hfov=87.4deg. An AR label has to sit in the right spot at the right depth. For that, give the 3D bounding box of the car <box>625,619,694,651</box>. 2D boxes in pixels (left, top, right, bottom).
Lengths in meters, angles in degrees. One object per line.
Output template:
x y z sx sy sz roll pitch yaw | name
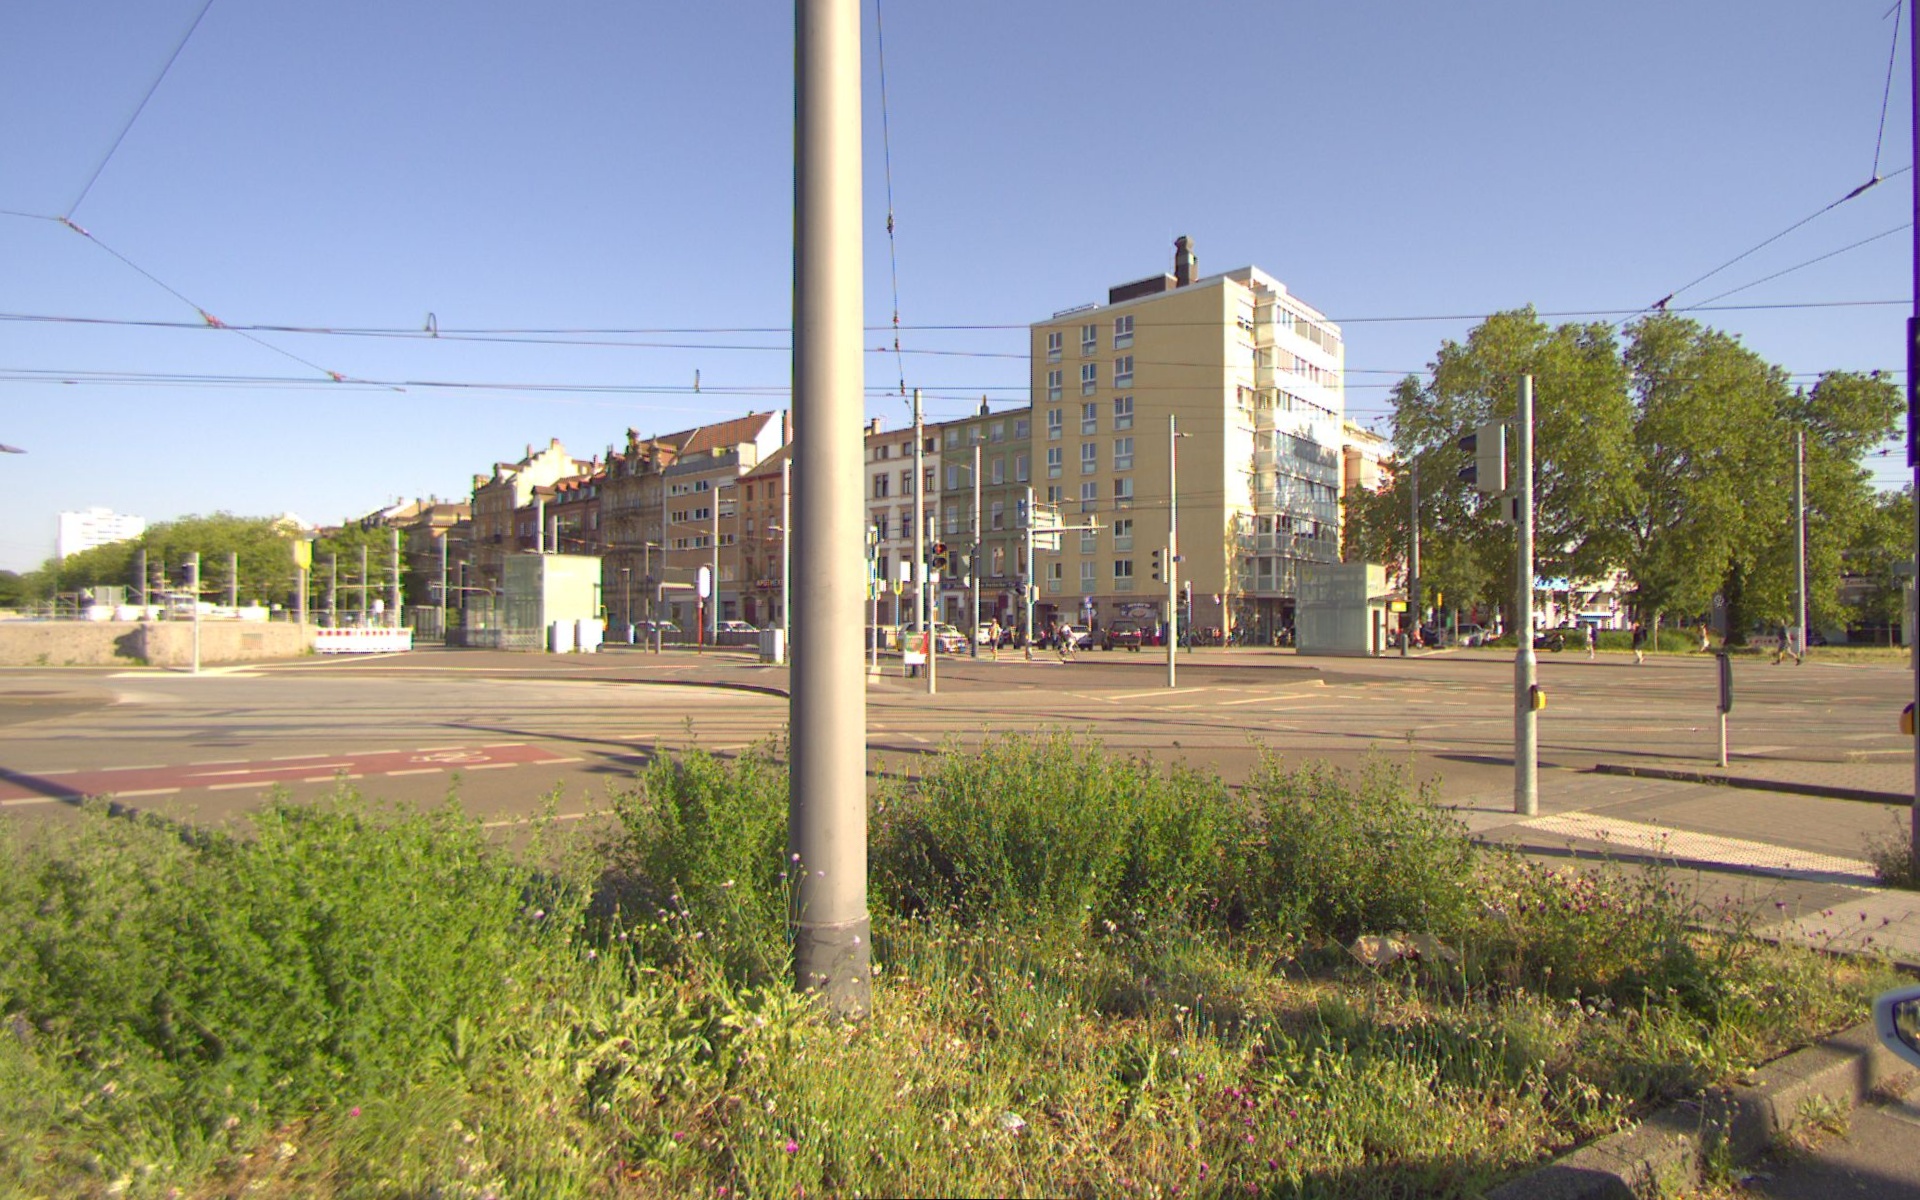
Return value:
-19.626 2.255 65.534 4.837 1.849 1.990 2 0 41 | car

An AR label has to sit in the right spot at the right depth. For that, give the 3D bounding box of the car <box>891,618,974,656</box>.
-1.374 1.769 49.132 3.942 1.684 1.777 2 0 42 | car

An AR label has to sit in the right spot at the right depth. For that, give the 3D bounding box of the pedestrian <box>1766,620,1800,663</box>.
34.050 1.726 41.570 0.747 1.728 0.793 2 0 -22 | pedestrian

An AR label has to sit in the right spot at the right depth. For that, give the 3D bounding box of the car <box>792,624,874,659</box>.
-6.866 2.208 54.169 4.652 1.684 1.777 1 0 42 | car

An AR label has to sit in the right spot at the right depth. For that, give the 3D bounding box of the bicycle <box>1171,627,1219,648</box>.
14.882 2.384 63.729 3.003 1.167 0.637 1 0 44 | bicycle

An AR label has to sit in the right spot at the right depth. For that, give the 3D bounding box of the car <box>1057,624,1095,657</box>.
6.819 2.351 59.305 1.960 1.728 4.001 2 0 4 | car

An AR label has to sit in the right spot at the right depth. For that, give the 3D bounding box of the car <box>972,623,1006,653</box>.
1.887 2.387 63.980 1.960 1.728 4.001 2 0 4 | car

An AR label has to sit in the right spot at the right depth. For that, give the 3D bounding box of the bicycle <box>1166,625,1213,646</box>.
14.434 2.218 63.240 3.003 1.167 0.637 1 0 44 | bicycle

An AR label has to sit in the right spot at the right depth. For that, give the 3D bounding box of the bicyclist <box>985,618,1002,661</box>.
1.388 1.612 41.416 0.653 1.706 0.980 2 0 2 | bicyclist

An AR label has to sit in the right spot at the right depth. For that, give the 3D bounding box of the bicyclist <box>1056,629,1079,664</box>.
4.338 1.863 40.668 0.617 1.368 0.658 2 0 44 | bicyclist

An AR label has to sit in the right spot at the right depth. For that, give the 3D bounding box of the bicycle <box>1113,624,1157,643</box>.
11.501 2.203 66.182 3.003 1.167 0.637 1 0 44 | bicycle

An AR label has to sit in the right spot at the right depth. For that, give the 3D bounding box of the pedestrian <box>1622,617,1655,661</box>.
27.624 1.583 40.878 0.747 1.728 0.793 2 0 -22 | pedestrian

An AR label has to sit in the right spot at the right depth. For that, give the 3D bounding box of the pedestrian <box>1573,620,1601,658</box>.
28.590 1.773 45.811 0.747 1.728 0.793 2 0 -22 | pedestrian

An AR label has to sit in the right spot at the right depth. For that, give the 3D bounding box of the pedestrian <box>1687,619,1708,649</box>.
42.963 1.955 58.520 0.491 1.716 0.852 2 0 -32 | pedestrian

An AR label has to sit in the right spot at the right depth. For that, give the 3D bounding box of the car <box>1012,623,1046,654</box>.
4.200 2.310 61.494 1.960 1.728 4.001 2 0 4 | car

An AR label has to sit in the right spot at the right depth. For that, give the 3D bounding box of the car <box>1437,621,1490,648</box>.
32.013 2.203 63.814 3.973 1.588 1.753 2 0 -44 | car

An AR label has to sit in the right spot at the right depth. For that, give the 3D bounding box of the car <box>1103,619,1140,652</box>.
9.176 1.977 57.396 1.684 1.728 4.001 2 0 4 | car

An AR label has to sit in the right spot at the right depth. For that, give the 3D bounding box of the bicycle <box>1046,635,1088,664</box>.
4.350 1.991 40.680 0.617 1.104 1.914 2 0 44 | bicycle

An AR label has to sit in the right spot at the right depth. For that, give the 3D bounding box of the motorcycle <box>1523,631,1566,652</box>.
29.149 2.057 50.114 1.753 0.926 0.676 2 0 41 | motorcycle
